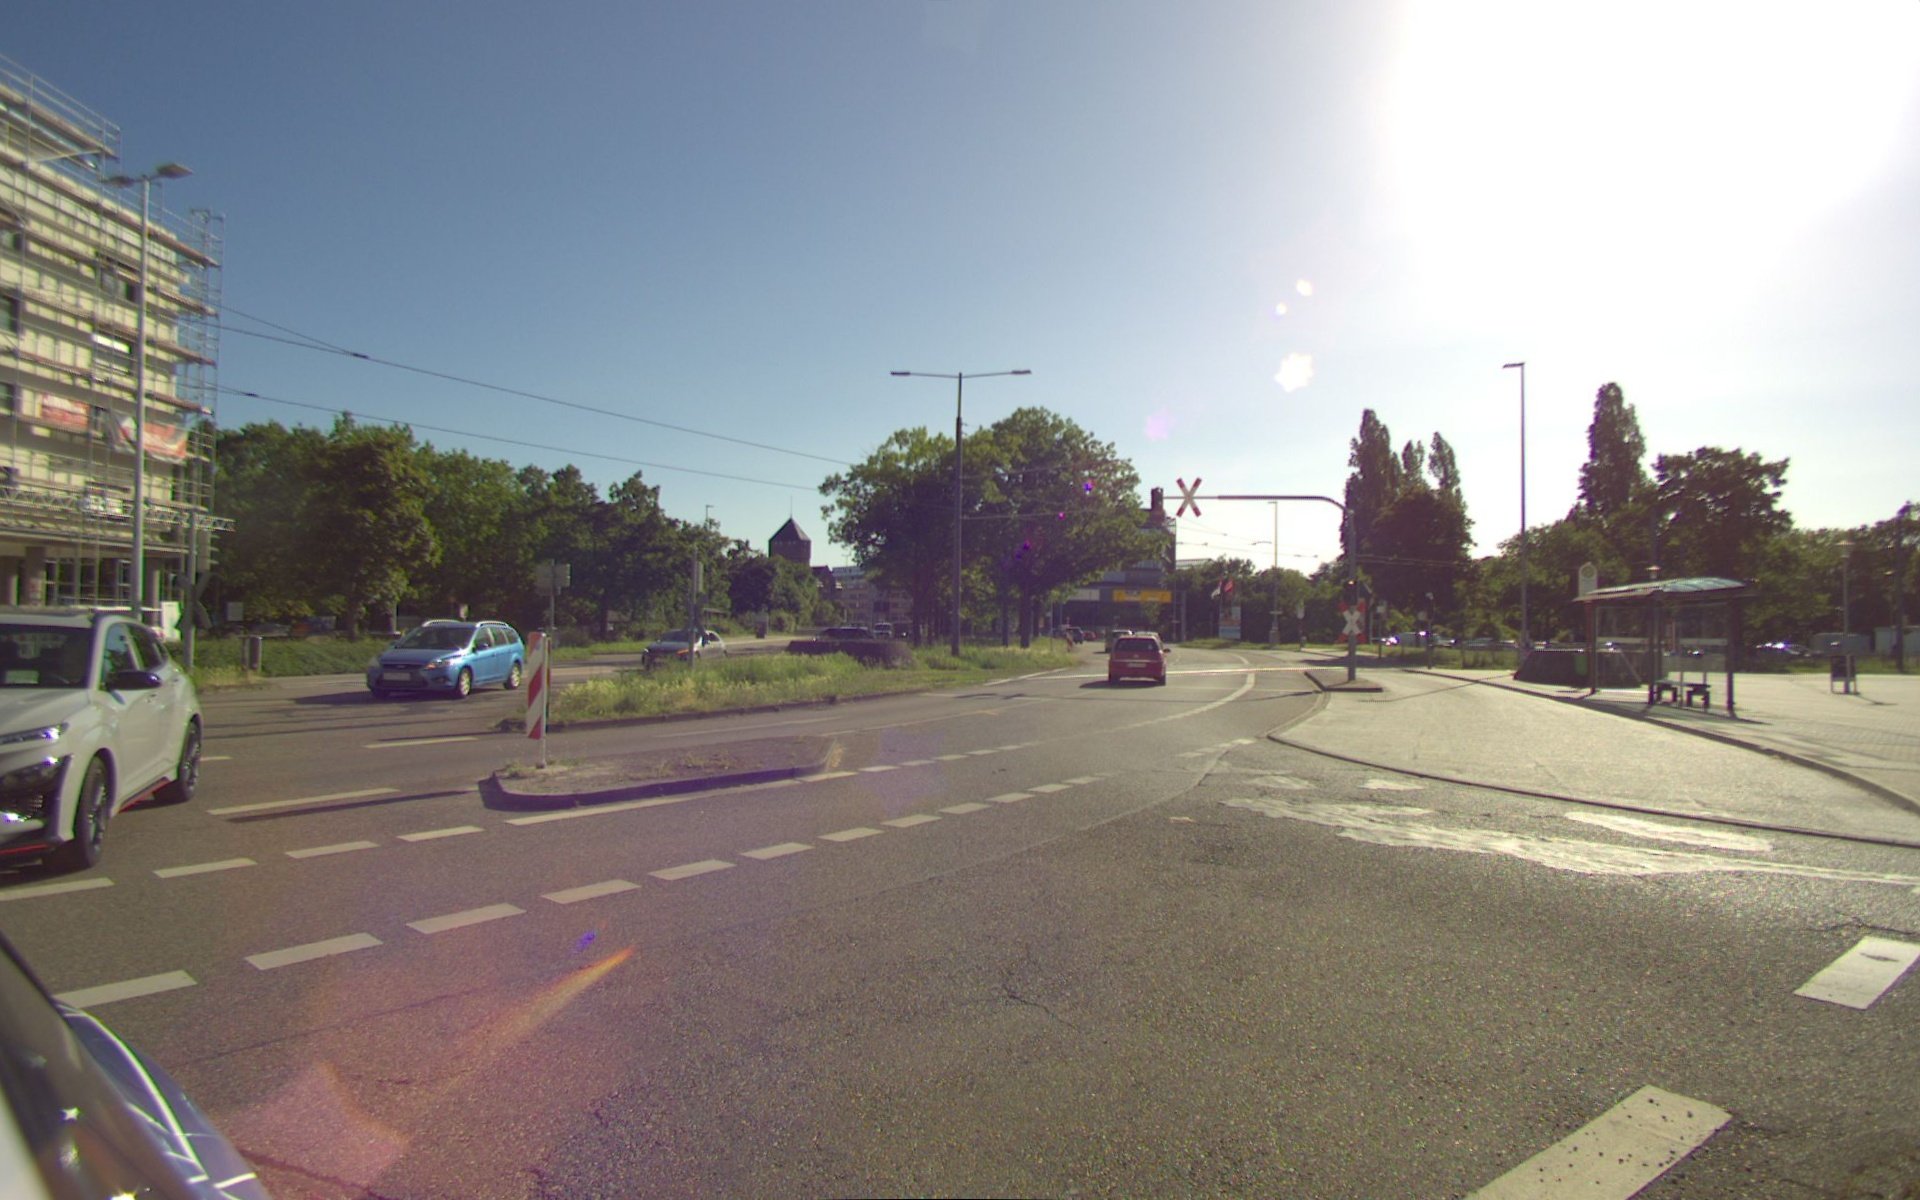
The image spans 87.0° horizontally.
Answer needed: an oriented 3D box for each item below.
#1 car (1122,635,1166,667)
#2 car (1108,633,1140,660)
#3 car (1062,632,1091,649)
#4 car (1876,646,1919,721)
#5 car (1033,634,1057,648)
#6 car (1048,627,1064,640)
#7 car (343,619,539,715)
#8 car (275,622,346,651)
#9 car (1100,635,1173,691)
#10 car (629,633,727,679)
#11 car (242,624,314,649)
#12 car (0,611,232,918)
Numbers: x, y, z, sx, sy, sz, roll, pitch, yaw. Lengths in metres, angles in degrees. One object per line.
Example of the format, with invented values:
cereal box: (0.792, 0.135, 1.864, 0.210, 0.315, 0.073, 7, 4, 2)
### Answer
car: (9.721, 2.669, 53.749, 1.975, 1.564, 4.476, 0, -2, 6)
car: (10.605, 2.984, 65.482, 1.978, 1.675, 4.471, 0, -2, 9)
car: (11.436, 3.964, 99.711, 1.970, 1.675, 4.488, 1, -2, -4)
car: (20.705, 1.734, 20.898, 1.675, 1.519, 3.565, 0, -2, 26)
car: (10.516, 5.067, 125.190, 1.968, 1.675, 4.493, 1, -2, -9)
car: (15.122, 5.264, 160.057, 1.971, 2.029, 4.001, 1, -2, -1)
car: (-10.703, 1.332, 21.306, 1.847, 1.789, 4.485, 1, -2, -1)
car: (-38.418, 2.148, 59.952, 1.796, 1.596, 3.684, 1, -2, 0)
car: (5.473, 1.858, 31.003, 1.980, 1.564, 4.466, 0, -2, 13)
car: (-9.698, 1.887, 35.166, 1.850, 1.467, 4.478, 0, -2, 4)
car: (-40.640, 2.190, 60.378, 1.796, 1.405, 3.684, 1, -2, 0)
car: (-6.607, 0.878, 6.870, 1.872, 1.564, 4.499, 2, -2, -25)
